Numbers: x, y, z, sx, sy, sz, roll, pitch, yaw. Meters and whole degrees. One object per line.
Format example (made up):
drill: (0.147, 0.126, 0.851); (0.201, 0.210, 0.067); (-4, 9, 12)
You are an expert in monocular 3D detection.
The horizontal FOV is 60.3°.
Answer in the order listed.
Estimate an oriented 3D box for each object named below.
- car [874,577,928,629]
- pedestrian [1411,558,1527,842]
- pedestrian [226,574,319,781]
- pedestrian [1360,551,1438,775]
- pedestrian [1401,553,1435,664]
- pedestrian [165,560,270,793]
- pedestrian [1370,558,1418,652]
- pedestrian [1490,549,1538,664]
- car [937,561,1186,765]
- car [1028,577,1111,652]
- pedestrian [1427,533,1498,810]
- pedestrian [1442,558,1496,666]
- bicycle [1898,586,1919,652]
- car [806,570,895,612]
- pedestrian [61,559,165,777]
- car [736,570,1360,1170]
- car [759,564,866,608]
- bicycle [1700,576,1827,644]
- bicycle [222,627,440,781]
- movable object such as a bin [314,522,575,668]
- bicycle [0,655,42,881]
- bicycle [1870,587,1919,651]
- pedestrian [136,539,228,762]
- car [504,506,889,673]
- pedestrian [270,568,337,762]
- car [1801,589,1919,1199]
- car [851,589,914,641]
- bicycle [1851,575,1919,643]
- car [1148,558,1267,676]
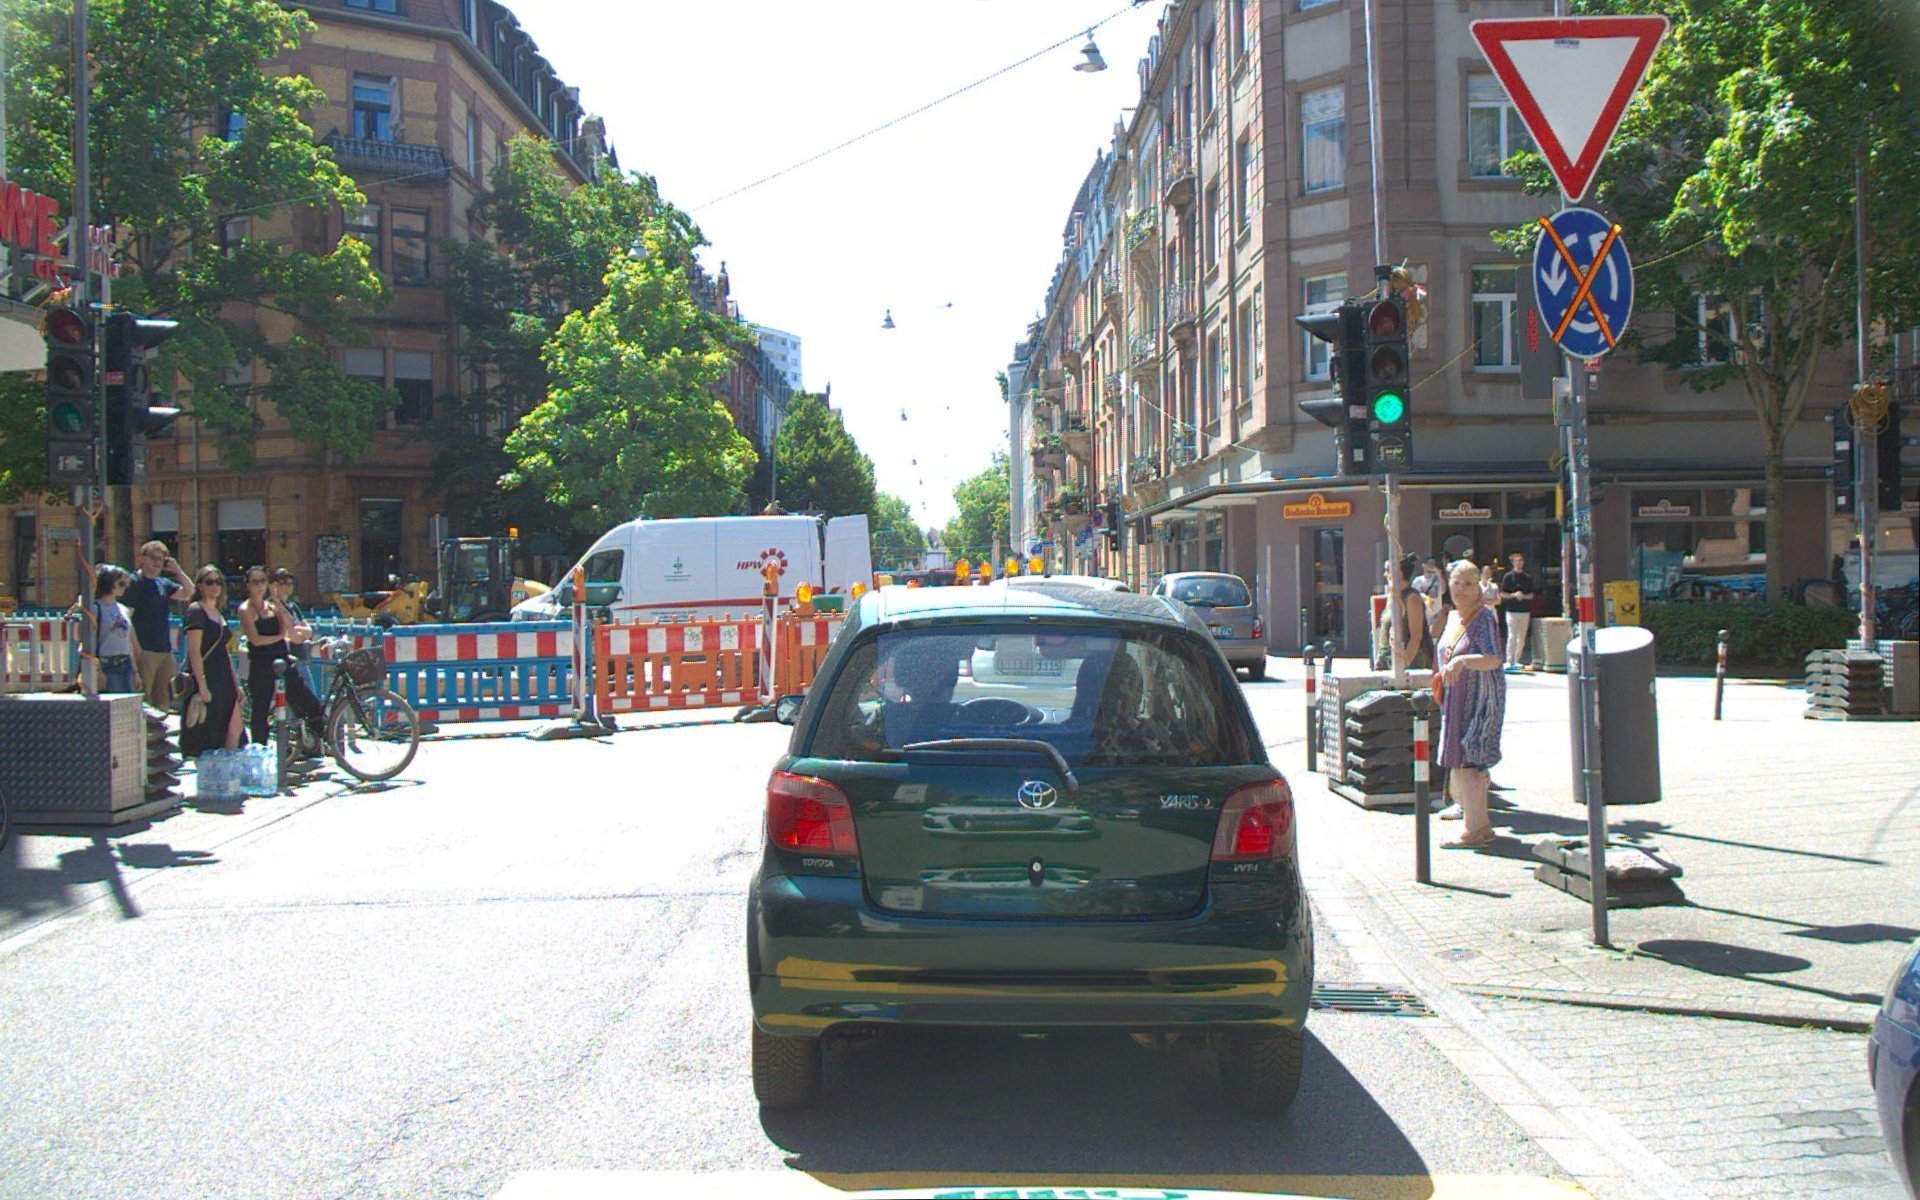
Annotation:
car: (-2.080, 0.100, 59.388); (1.719, 1.673, 4.377); (-4, 0, -1)
pedestrian: (2.909, 0.560, 9.483); (0.482, 1.570, 0.437); (-3, 0, 5)
pedestrian: (-5.441, 0.599, 13.099); (0.486, 1.593, 0.459); (1, 1, 25)
pedestrian: (3.178, 0.448, 11.984); (0.450, 1.587, 0.479); (-1, 0, 5)
pedestrian: (7.398, 0.137, 26.706); (0.467, 1.763, 0.872); (-1, -1, 18)
pedestrian: (-5.440, 0.546, 12.135); (0.530, 1.661, 0.511); (-1, 0, -3)
pedestrian: (7.781, 0.082, 29.663); (0.784, 1.652, 0.644); (-1, 0, 13)
pedestrian: (9.015, 0.099, 26.918); (0.564, 1.799, 0.471); (-3, 4, -9)
car: (0.981, 0.456, 14.338); (1.490, 1.547, 3.266); (-1, 1, 16)
car: (2.353, 0.270, 34.939); (1.593, 1.457, 3.663); (-2, 0, 6)
pedestrian: (3.161, 0.442, 10.418); (0.325, 1.705, 0.402); (-1, 0, 5)
pedestrian: (8.238, 0.189, 26.757); (0.688, 1.673, 0.422); (-3, 4, -9)
bicycle: (16.083, 0.293, 26.706); (1.651, 1.023, 0.470); (-1, 2, -5)
car: (-6.072, -0.505, 91.629); (4.506, 2.226, 1.982); (-1, 0, -28)
pedestrian: (-6.651, 0.518, 13.003); (0.499, 1.661, 0.599); (-1, 0, -3)
car: (0.290, 0.669, 5.814); (1.580, 1.511, 3.242); (0, 0, 3)
car: (-7.071, -0.678, 79.208); (4.723, 2.029, 2.033); (-1, 0, -30)
bicycle: (14.127, 0.178, 29.119); (1.938, 1.152, 0.517); (-1, 0, 17)
bicycle: (-5.064, 0.813, 13.303); (1.767, 1.138, 0.468); (1, 1, 21)
movable object such as a bin: (-9.966, -0.096, 32.250); (4.451, 2.705, 1.954); (1, 0, -1)
bicycle: (-5.814, 0.857, 8.535); (1.763, 1.142, 0.577); (1, 0, -7)
bicycle: (16.147, 0.300, 27.582); (1.726, 1.014, 0.470); (-1, 2, -5)
pedestrian: (-6.643, 0.418, 14.142); (0.499, 1.851, 0.599); (-1, 0, -3)
car: (-4.609, -0.187, 29.803); (6.485, 2.799, 2.380); (1, 0, 0)
pedestrian: (-5.671, 0.548, 14.309); (0.382, 1.646, 0.475); (-1, 0, -3)
car: (2.753, 0.699, 1.867); (1.595, 1.457, 3.658); (-2, 0, -3)
car: (-2.305, 0.412, 49.827); (1.719, 1.469, 4.000); (-2, 0, -1)
bicycle: (16.048, 0.141, 28.004); (1.726, 1.099, 0.470); (-1, 2, -5)
car: (3.634, 0.210, 24.658); (1.490, 1.620, 3.266); (-1, 1, 4)
